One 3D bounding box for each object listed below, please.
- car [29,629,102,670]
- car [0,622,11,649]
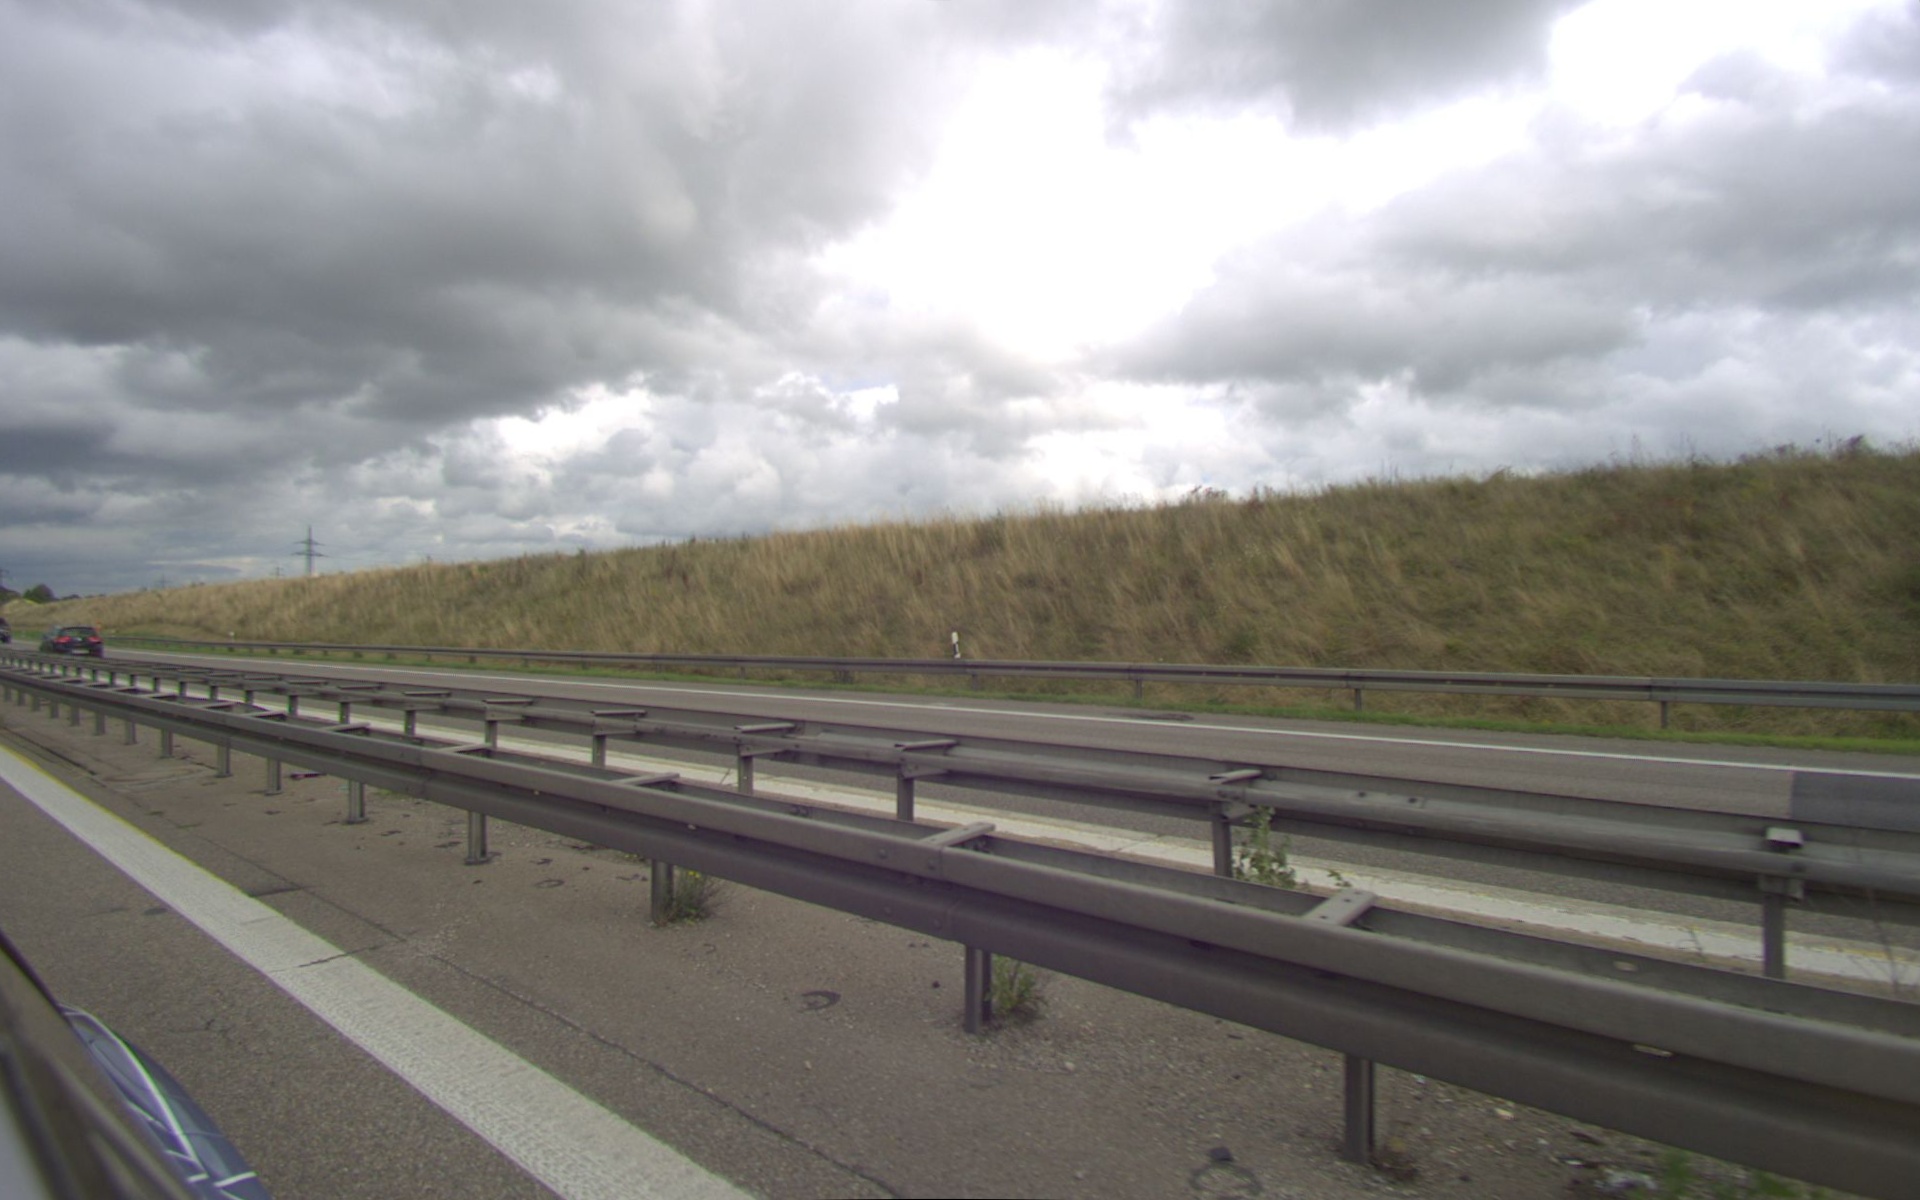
[{"bbox_3d":[-37.715,2.048,42.648,3.998,1.588,1.822,-1,-1,41],"label":"car"},{"bbox_3d":[-85.265,3.125,89.144,5.716,2.259,1.972,-1,-1,42],"label":"car"}]
